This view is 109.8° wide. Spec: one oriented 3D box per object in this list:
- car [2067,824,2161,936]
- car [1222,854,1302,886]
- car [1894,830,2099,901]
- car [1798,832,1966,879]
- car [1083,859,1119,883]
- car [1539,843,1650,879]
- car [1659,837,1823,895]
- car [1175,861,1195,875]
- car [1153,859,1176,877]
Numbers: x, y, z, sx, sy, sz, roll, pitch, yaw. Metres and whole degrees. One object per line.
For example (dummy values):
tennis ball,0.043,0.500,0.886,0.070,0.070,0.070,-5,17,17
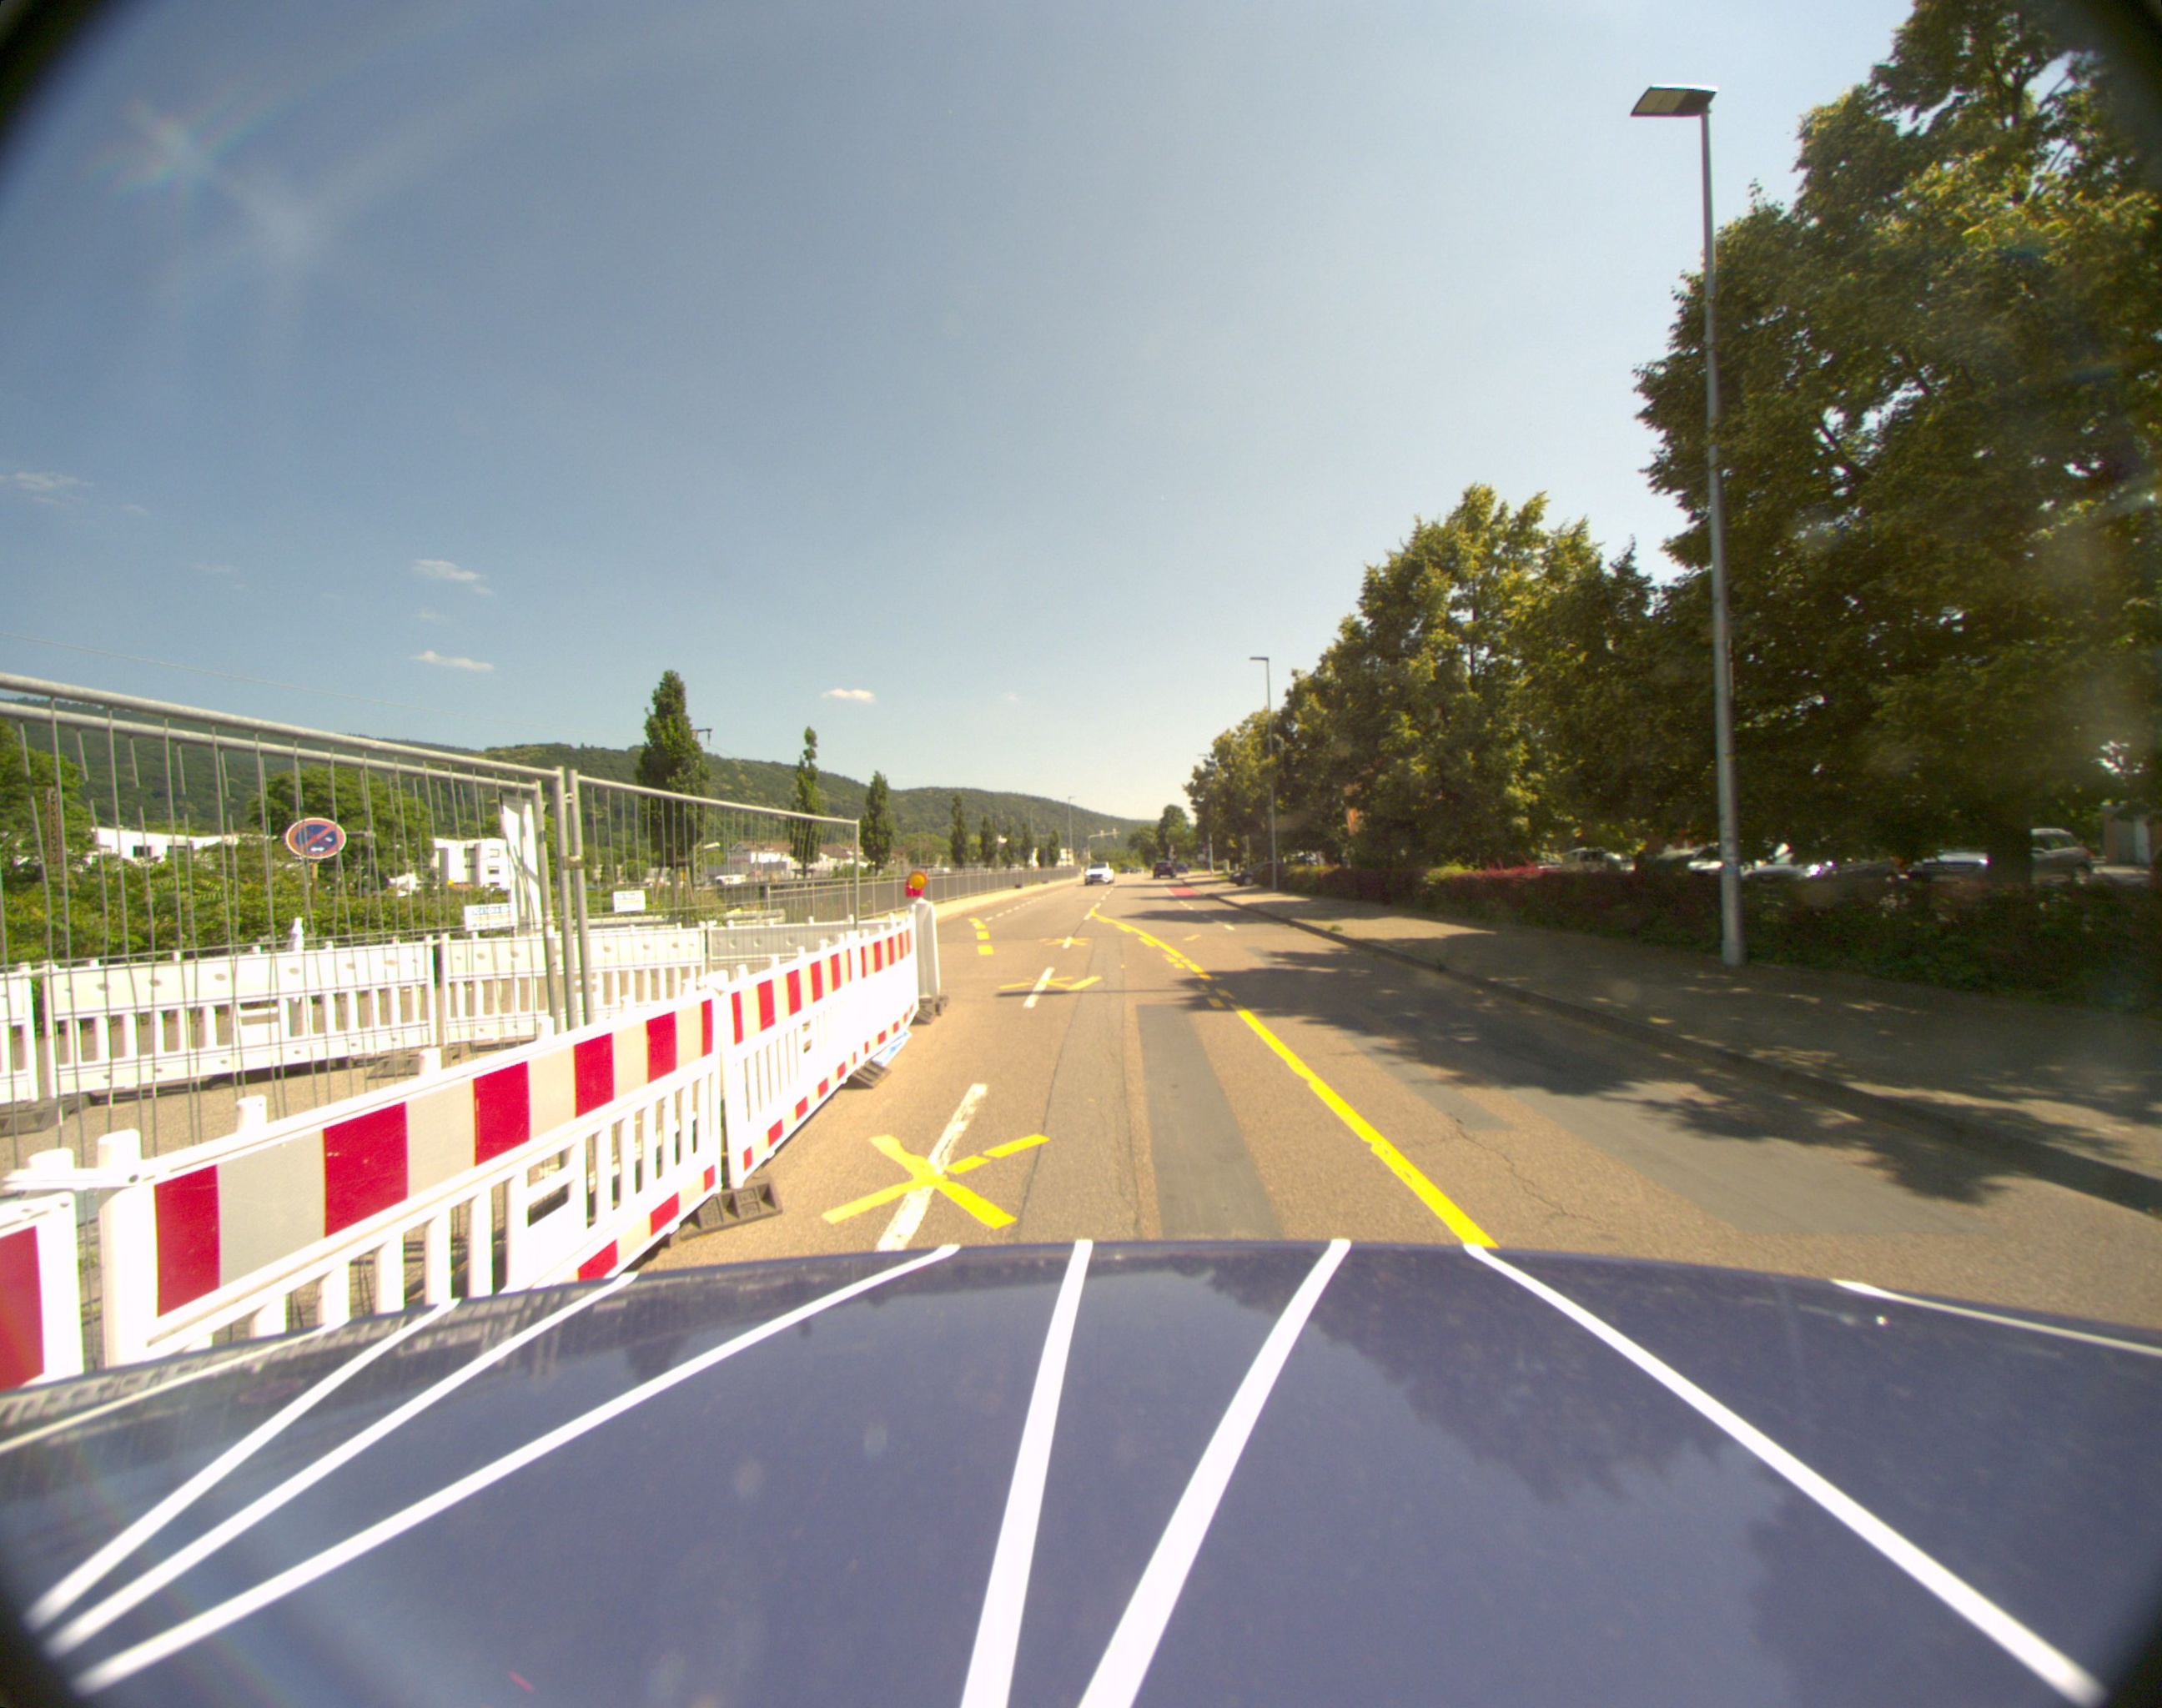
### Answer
car,17.105,0.377,10.279,1.861,1.676,4.367,0,0,-1
car,9.952,0.852,41.943,3.995,1.455,1.881,-4,0,6
car,24.387,0.271,20.280,4.369,1.676,1.860,-2,0,-16
car,32.725,0.098,31.248,1.863,1.676,4.363,-4,0,-12
car,1.558,1.272,58.104,1.997,1.635,5.035,-2,0,10
car,24.358,0.336,36.236,1.922,1.543,4.137,-2,0,-14
car,21.347,0.357,24.613,4.314,1.676,1.860,-2,0,-15
car,12.599,1.654,92.358,1.998,1.635,4.529,-1,0,4
car,8.177,1.302,74.199,1.997,1.635,4.531,-1,0,9
